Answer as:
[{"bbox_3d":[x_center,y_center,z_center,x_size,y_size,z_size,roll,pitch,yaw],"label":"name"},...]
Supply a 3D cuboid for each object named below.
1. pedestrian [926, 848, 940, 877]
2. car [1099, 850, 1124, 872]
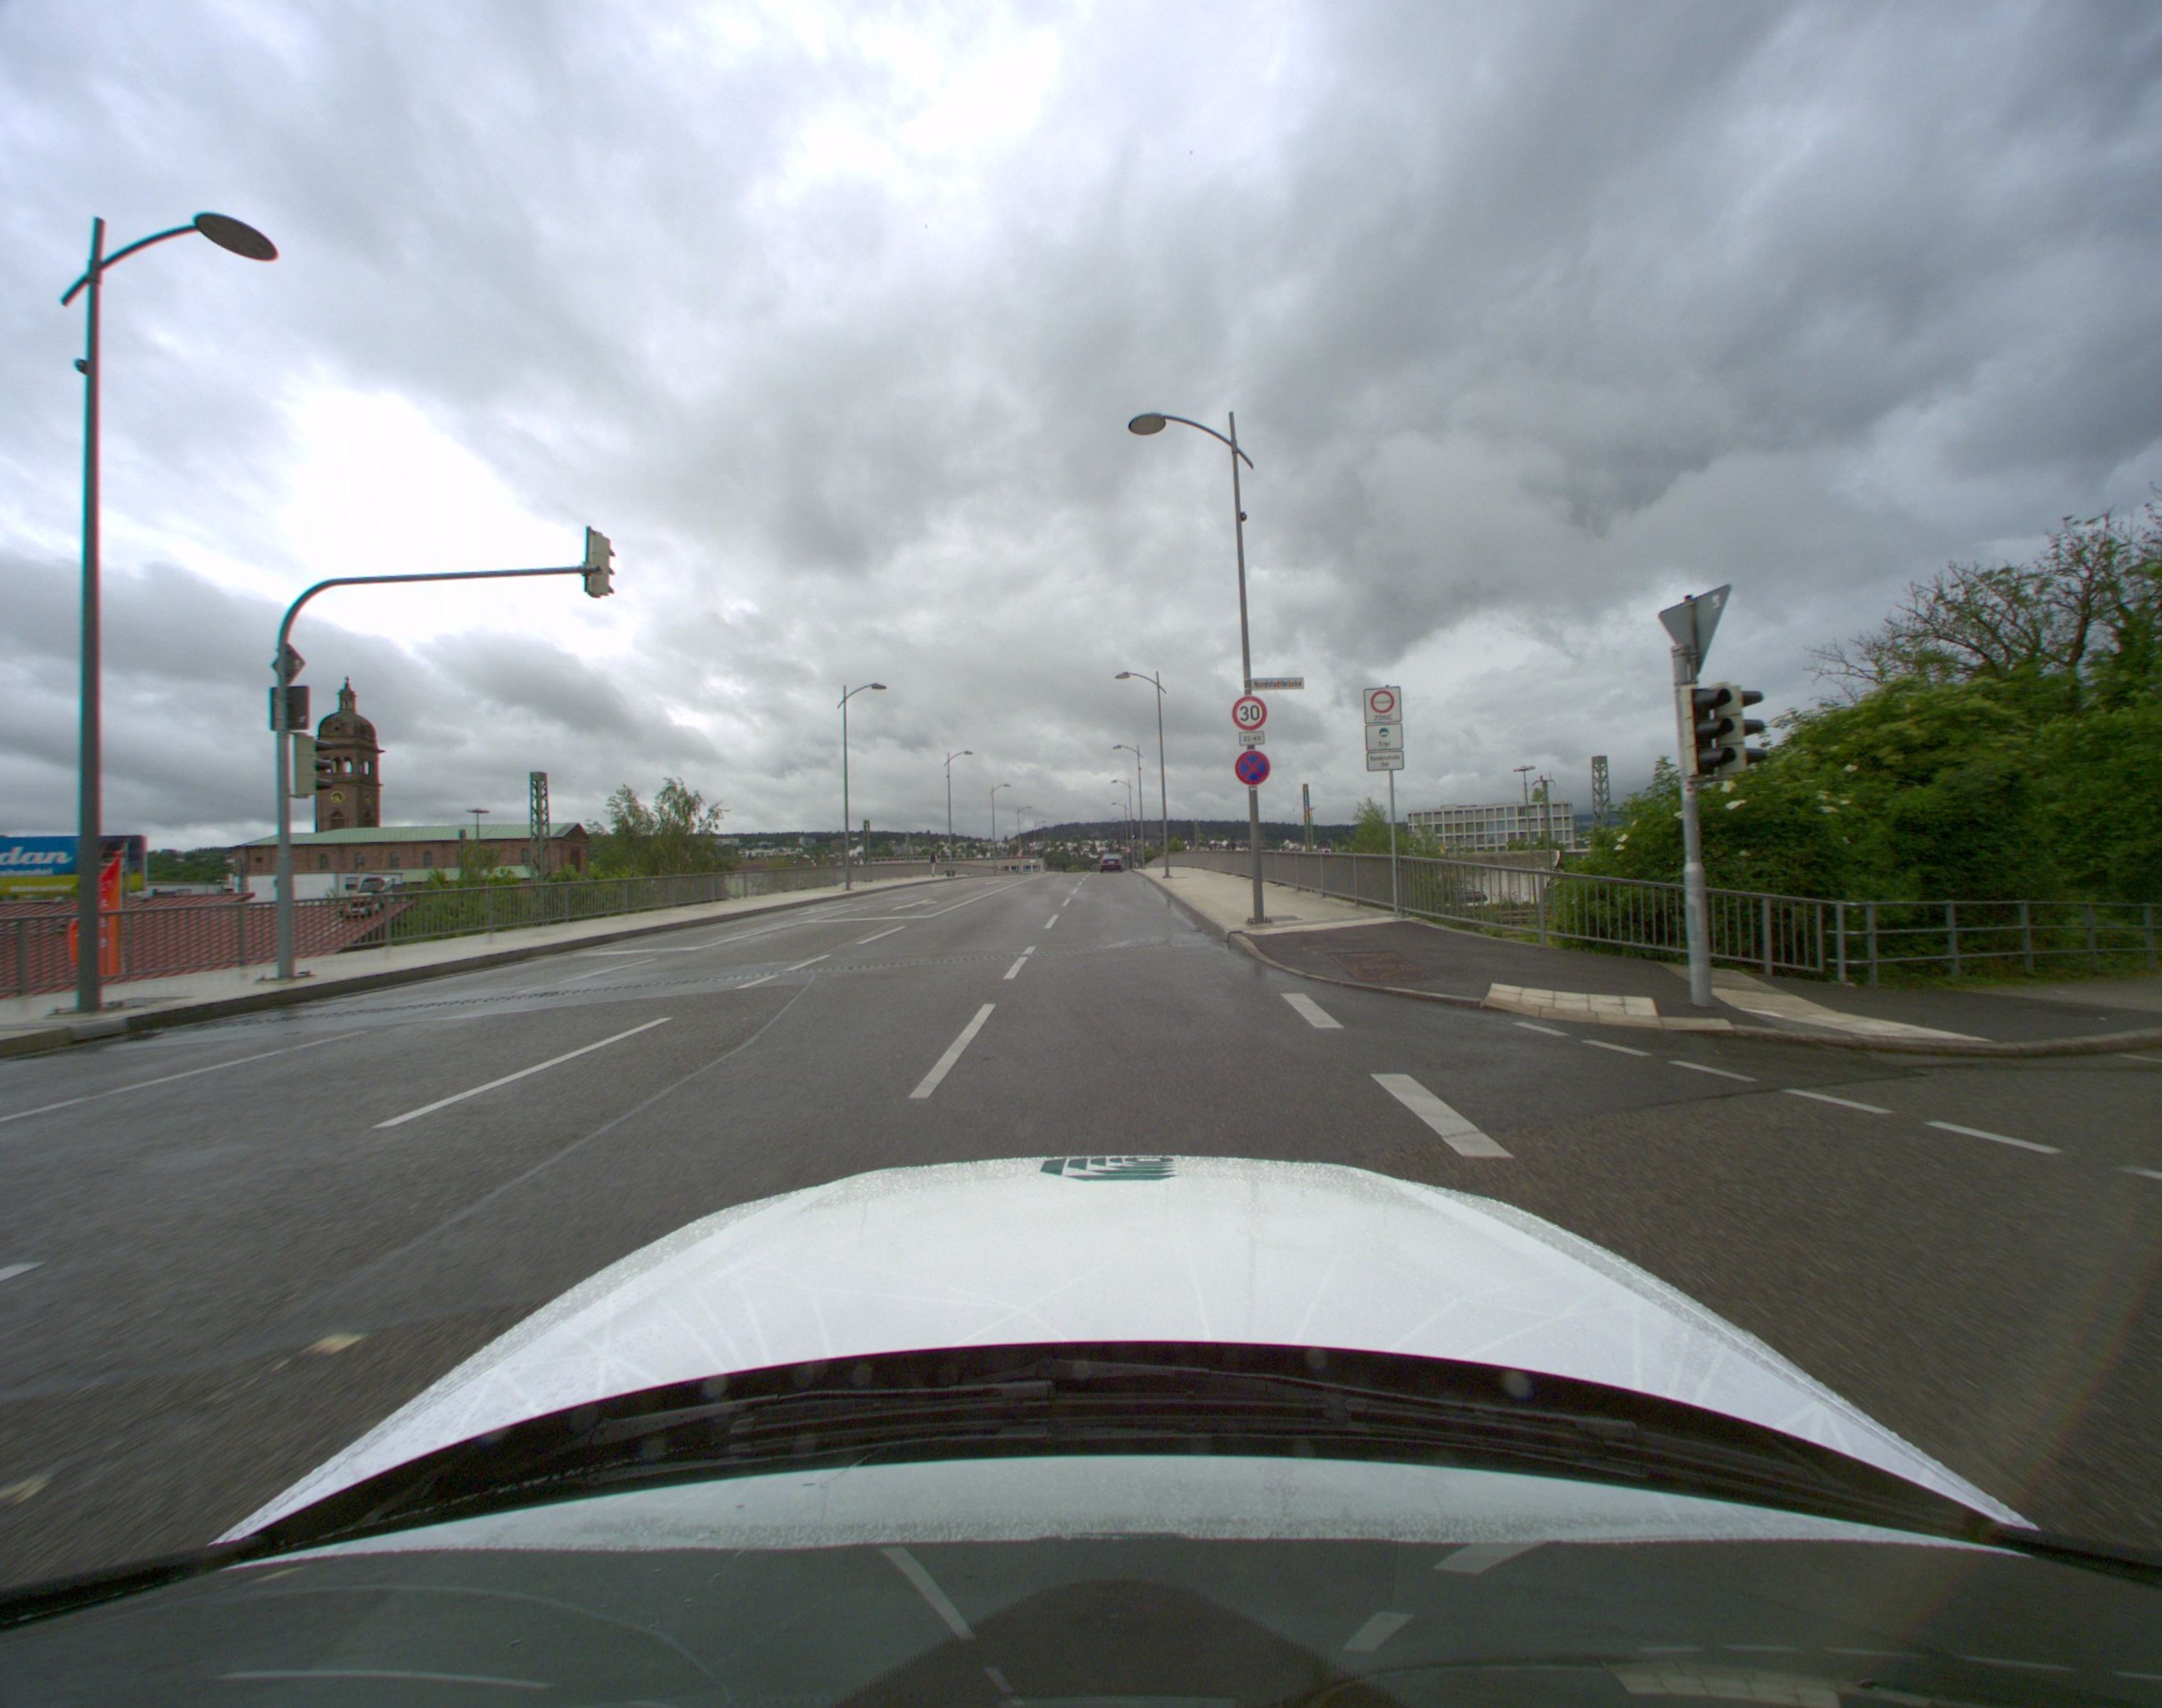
[{"bbox_3d":[-10.840,0.650,59.763,0.753,2.048,0.892,-2,-3,1],"label":"pedestrian"},{"bbox_3d":[2.301,0.529,61.321,1.747,1.479,4.001,-2,-2,2],"label":"car"}]
